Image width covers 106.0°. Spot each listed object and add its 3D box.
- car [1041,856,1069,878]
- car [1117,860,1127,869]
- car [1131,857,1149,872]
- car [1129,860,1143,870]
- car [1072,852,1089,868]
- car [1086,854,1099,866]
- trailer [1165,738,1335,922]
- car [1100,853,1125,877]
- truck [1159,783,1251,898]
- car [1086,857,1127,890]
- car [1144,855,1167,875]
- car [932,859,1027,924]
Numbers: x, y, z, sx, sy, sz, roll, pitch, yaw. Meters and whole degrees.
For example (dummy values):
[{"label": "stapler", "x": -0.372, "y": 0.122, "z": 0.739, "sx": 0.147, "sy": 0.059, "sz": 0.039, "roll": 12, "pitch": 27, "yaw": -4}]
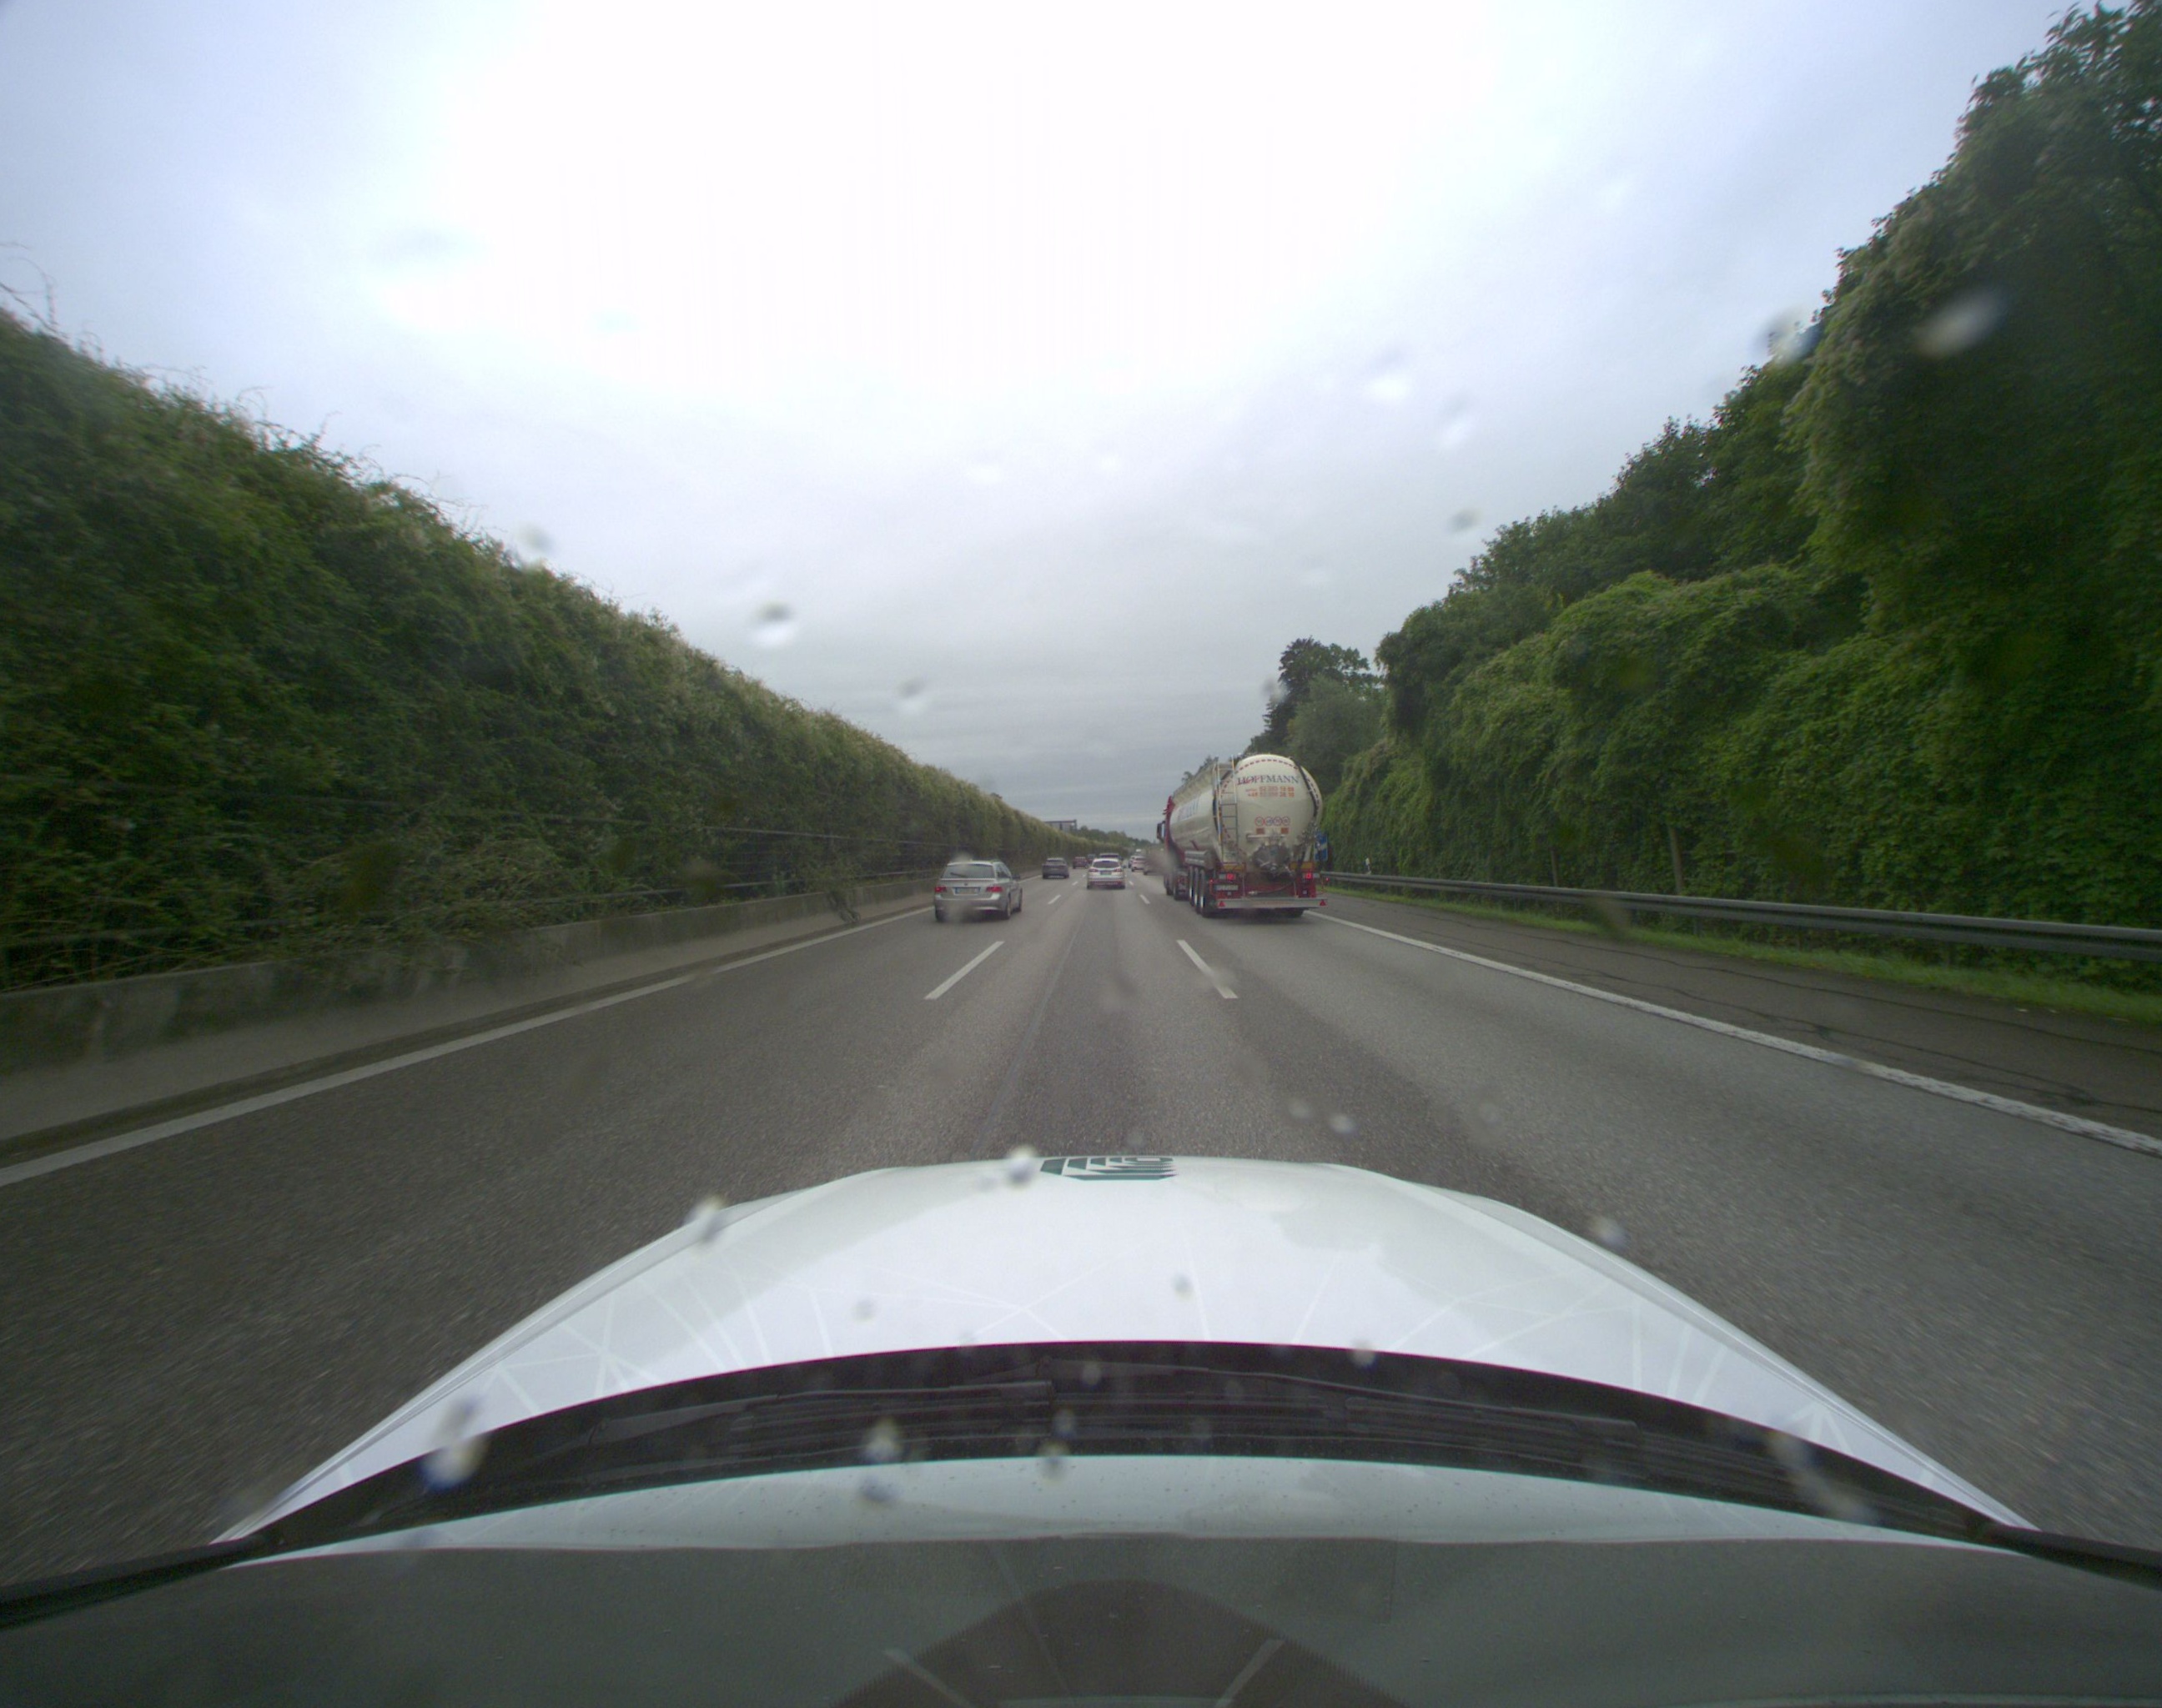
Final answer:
[{"label": "car", "x": -1.831, "y": 0.923, "z": 58.384, "sx": 1.713, "sy": 1.512, "sz": 5.032, "roll": 0, "pitch": 0, "yaw": 2}, {"label": "car", "x": 7.789, "y": 1.940, "z": 154.508, "sx": 1.682, "sy": 1.539, "sz": 3.874, "roll": 0, "pitch": 0, "yaw": 3}, {"label": "car", "x": 5.994, "y": 1.068, "z": 82.562, "sx": 1.682, "sy": 1.506, "sz": 3.873, "roll": 0, "pitch": -1, "yaw": 2}, {"label": "car", "x": 7.247, "y": 1.407, "z": 107.234, "sx": 1.682, "sy": 1.331, "sz": 3.873, "roll": 0, "pitch": -1, "yaw": 2}, {"label": "car", "x": 0.006, "y": 0.725, "z": 101.383, "sx": 1.986, "sy": 2.013, "sz": 3.843, "roll": -1, "pitch": 0, "yaw": 2}, {"label": "car", "x": 1.905, "y": 0.960, "z": 132.115, "sx": 1.986, "sy": 2.013, "sz": 4.002, "roll": -1, "pitch": 0, "yaw": 2}, {"label": "trailer", "x": 4.310, "y": -0.450, "z": 24.107, "sx": 2.658, "sy": 3.939, "sz": 13.133, "roll": 0, "pitch": -1, "yaw": 2}, {"label": "car", "x": 2.310, "y": 0.803, "z": 60.621, "sx": 1.683, "sy": 1.506, "sz": 3.873, "roll": 3, "pitch": 1, "yaw": 1}, {"label": "truck", "x": 4.506, "y": -0.427, "z": 30.872, "sx": 2.685, "sy": 3.912, "sz": 6.558, "roll": 0, "pitch": -1, "yaw": 2}, {"label": "car", "x": 1.273, "y": 0.900, "z": 40.246, "sx": 1.884, "sy": 1.504, "sz": 5.032, "roll": 0, "pitch": 0, "yaw": 2}, {"label": "car", "x": 6.120, "y": 0.876, "z": 67.190, "sx": 1.808, "sy": 1.625, "sz": 5.035, "roll": 0, "pitch": 0, "yaw": 4}, {"label": "car", "x": -2.540, "y": 0.887, "z": 21.608, "sx": 1.713, "sy": 1.469, "sz": 5.032, "roll": 0, "pitch": 0, "yaw": 2}]
